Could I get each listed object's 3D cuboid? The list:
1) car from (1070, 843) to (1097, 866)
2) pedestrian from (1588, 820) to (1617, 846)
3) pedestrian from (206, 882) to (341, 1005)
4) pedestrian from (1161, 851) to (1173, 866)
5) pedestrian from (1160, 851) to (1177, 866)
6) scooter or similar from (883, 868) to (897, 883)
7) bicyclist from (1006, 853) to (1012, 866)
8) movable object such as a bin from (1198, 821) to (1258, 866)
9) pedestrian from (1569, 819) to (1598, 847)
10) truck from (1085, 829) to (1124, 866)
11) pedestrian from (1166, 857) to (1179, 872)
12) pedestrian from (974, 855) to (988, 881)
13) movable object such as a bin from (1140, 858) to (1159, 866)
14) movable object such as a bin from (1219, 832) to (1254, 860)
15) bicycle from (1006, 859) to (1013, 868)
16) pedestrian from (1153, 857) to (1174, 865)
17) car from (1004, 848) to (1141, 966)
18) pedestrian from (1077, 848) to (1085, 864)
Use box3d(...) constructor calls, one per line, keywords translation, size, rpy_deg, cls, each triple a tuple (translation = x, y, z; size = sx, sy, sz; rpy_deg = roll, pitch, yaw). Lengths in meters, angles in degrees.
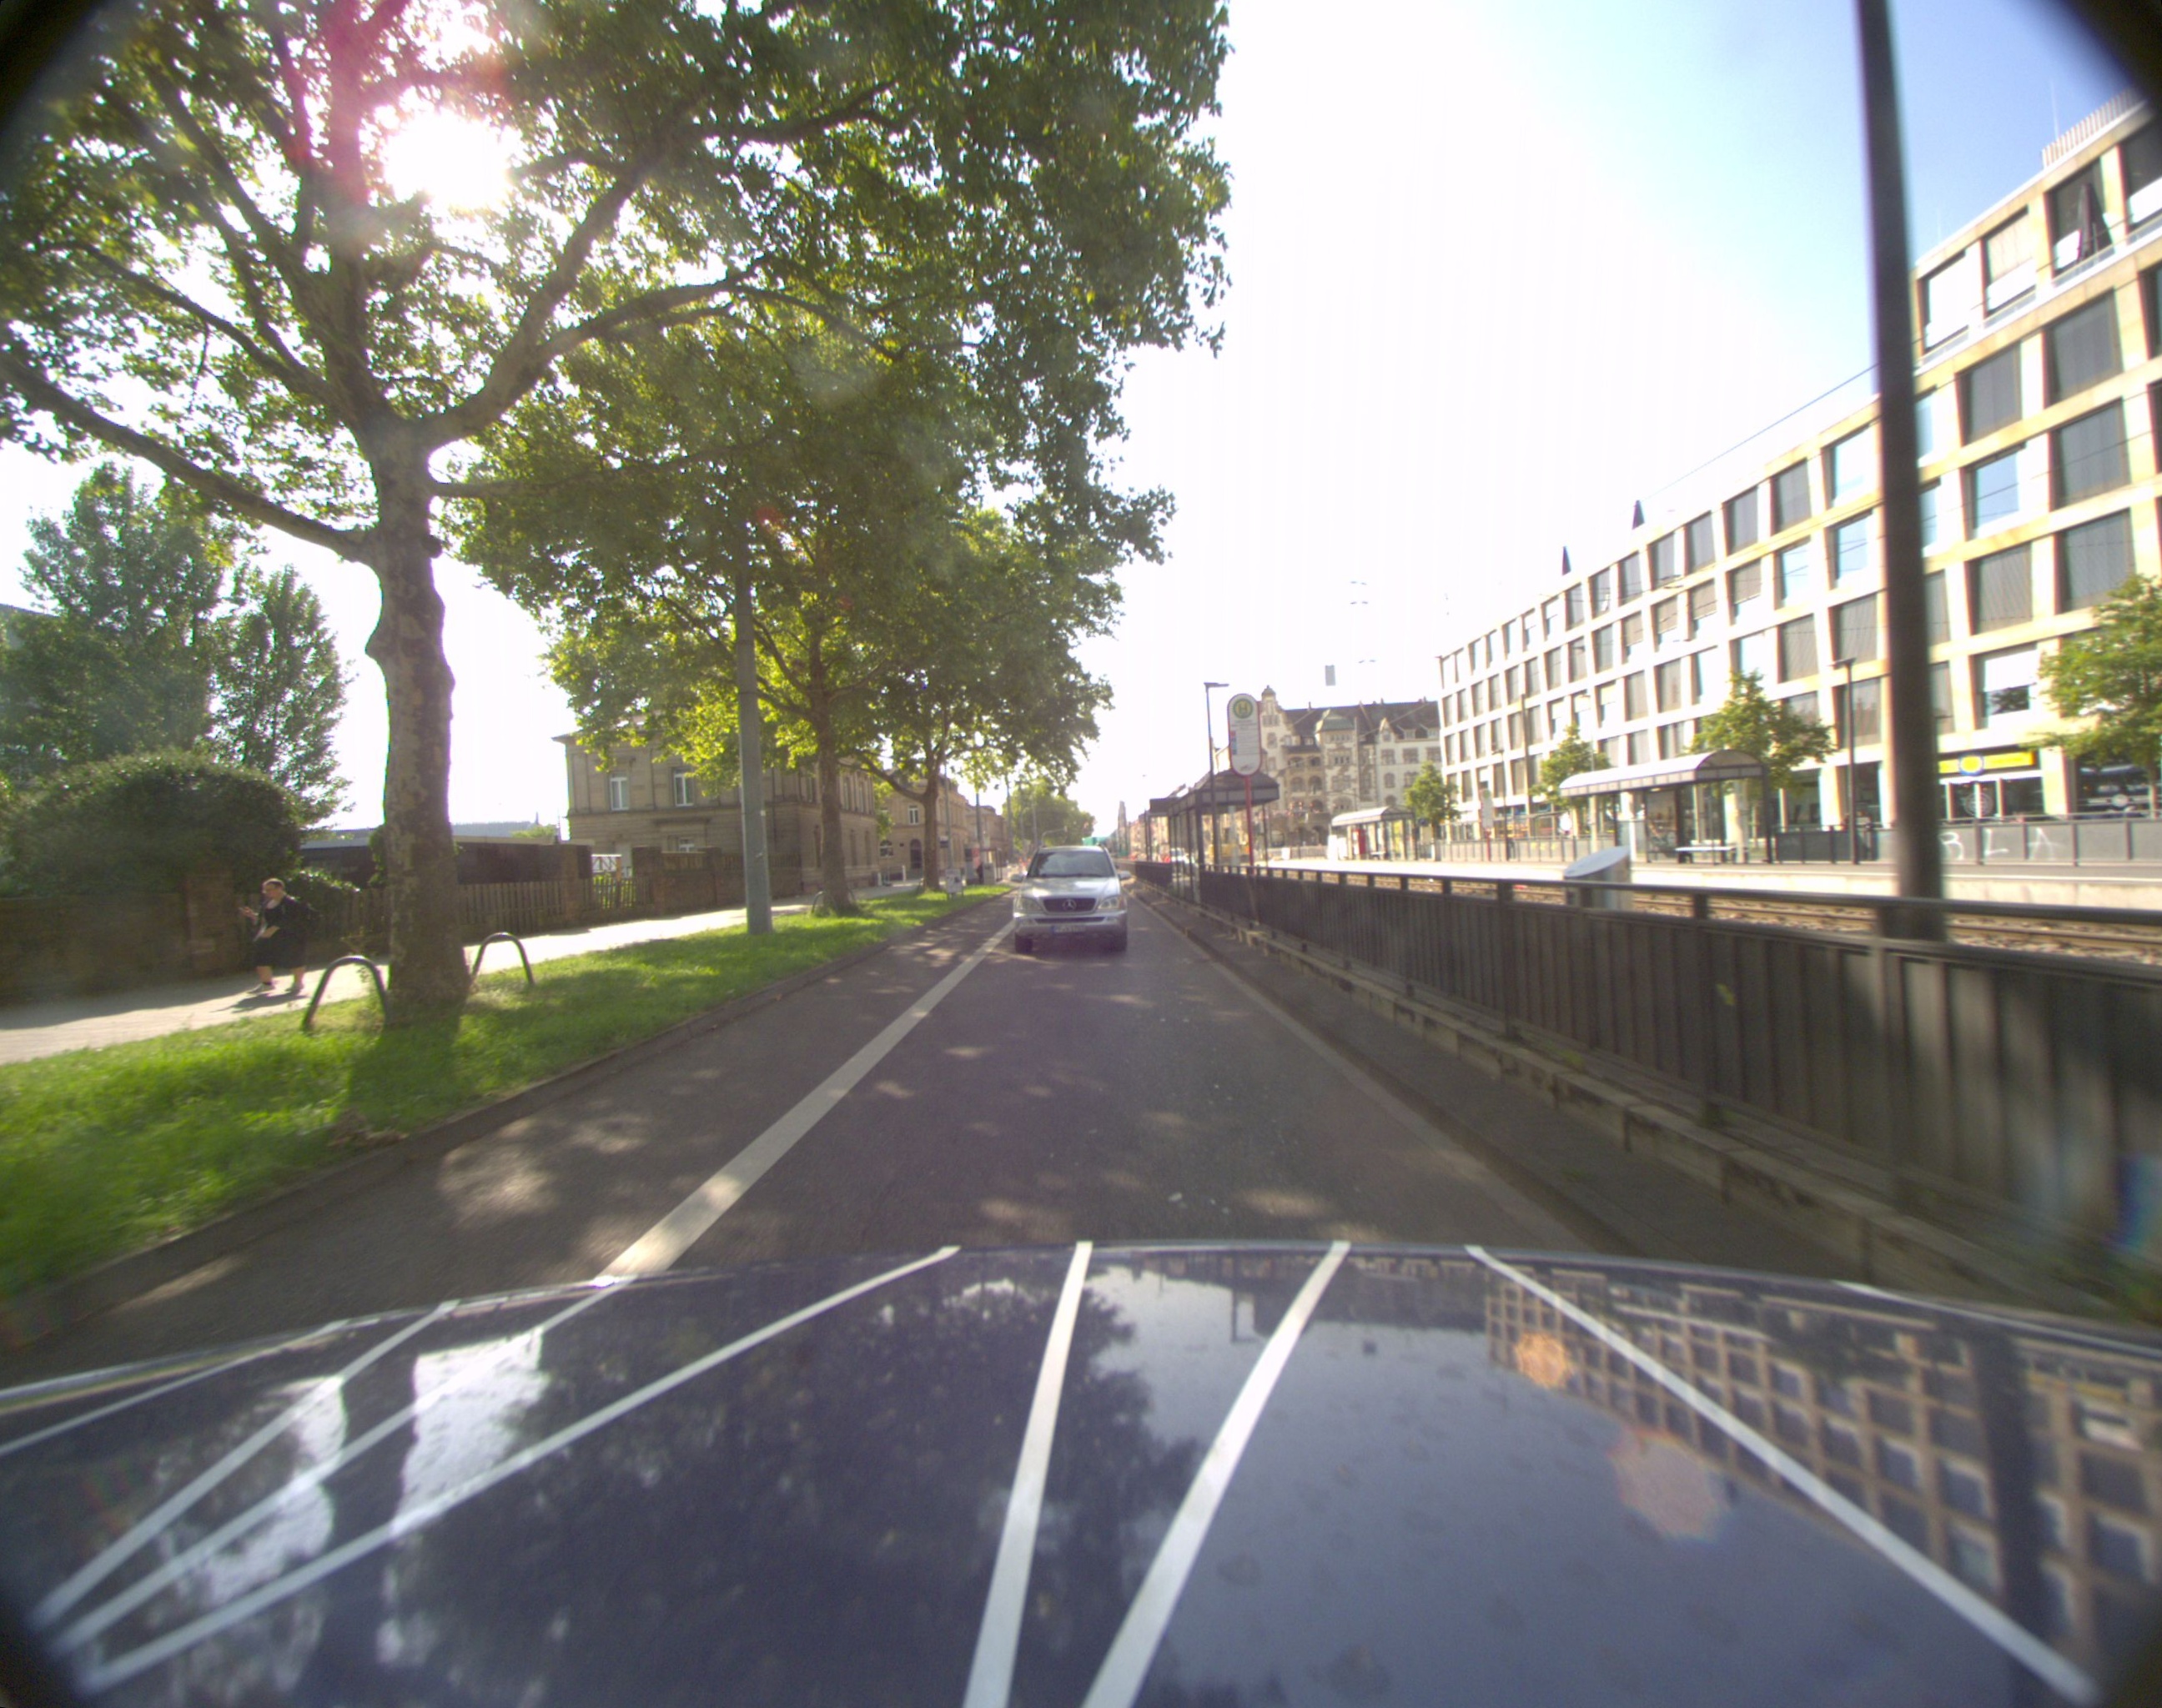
box3d(translation=(0.209, 0.070, 94.102), size=(2.232, 2.713, 5.165), rpy_deg=(-3, 0, -11), cls="car")
box3d(translation=(32.803, -1.317, 47.787), size=(0.978, 1.588, 1.123), rpy_deg=(-3, 0, 0), cls="pedestrian")
box3d(translation=(-11.931, 1.290, 11.273), size=(0.821, 1.676, 1.012), rpy_deg=(-3, 1, 1), cls="pedestrian")
box3d(translation=(7.778, 0.402, 68.809), size=(0.838, 1.299, 0.800), rpy_deg=(-3, 0, 24), cls="pedestrian")
box3d(translation=(8.036, 0.375, 69.700), size=(1.313, 1.299, 0.800), rpy_deg=(-3, 0, 24), cls="pedestrian")
box3d(translation=(-15.911, 1.775, 63.285), size=(0.422, 1.202, 1.257), rpy_deg=(-3, -2, 23), cls="scooter or similar")
box3d(translation=(-9.286, 0.693, 97.901), size=(0.719, 1.534, 0.955), rpy_deg=(-3, 0, -2), cls="bicyclist")
box3d(translation=(14.474, -1.037, 74.239), size=(3.507, 3.989, 9.055), rpy_deg=(-3, 0, 24), cls="movable object such as a bin")
box3d(translation=(31.648, -1.312, 47.885), size=(0.978, 1.742, 1.123), rpy_deg=(-3, 0, 0), cls="pedestrian")
box3d(translation=(2.438, -0.592, 82.671), size=(2.682, 3.656, 8.208), rpy_deg=(-3, 0, -8), cls="truck")
box3d(translation=(8.168, 0.932, 67.683), size=(1.017, 1.299, 0.983), rpy_deg=(-3, 0, 4), cls="pedestrian")
box3d(translation=(-6.633, 0.952, 50.312), size=(0.690, 1.687, 0.647), rpy_deg=(-3, 1, -21), cls="pedestrian")
box3d(translation=(6.158, 0.705, 68.255), size=(1.507, 0.649, 0.702), rpy_deg=(-3, 0, 21), cls="movable object such as a bin")
box3d(translation=(19.969, -1.013, 97.979), size=(2.853, 3.310, 8.346), rpy_deg=(-3, 0, 2), cls="movable object such as a bin")
box3d(translation=(-9.258, 1.238, 97.860), size=(0.719, 1.036, 1.902), rpy_deg=(-3, 0, -2), cls="bicycle")
box3d(translation=(7.928, 0.653, 73.222), size=(1.906, 0.632, 0.912), rpy_deg=(-3, 0, 4), cls="pedestrian")
box3d(translation=(-0.096, 0.800, 14.123), size=(1.998, 1.685, 5.225), rpy_deg=(-3, 0, 1), cls="car")
box3d(translation=(0.015, 0.285, 95.779), size=(0.735, 2.002, 0.907), rpy_deg=(-3, 1, 6), cls="pedestrian")
